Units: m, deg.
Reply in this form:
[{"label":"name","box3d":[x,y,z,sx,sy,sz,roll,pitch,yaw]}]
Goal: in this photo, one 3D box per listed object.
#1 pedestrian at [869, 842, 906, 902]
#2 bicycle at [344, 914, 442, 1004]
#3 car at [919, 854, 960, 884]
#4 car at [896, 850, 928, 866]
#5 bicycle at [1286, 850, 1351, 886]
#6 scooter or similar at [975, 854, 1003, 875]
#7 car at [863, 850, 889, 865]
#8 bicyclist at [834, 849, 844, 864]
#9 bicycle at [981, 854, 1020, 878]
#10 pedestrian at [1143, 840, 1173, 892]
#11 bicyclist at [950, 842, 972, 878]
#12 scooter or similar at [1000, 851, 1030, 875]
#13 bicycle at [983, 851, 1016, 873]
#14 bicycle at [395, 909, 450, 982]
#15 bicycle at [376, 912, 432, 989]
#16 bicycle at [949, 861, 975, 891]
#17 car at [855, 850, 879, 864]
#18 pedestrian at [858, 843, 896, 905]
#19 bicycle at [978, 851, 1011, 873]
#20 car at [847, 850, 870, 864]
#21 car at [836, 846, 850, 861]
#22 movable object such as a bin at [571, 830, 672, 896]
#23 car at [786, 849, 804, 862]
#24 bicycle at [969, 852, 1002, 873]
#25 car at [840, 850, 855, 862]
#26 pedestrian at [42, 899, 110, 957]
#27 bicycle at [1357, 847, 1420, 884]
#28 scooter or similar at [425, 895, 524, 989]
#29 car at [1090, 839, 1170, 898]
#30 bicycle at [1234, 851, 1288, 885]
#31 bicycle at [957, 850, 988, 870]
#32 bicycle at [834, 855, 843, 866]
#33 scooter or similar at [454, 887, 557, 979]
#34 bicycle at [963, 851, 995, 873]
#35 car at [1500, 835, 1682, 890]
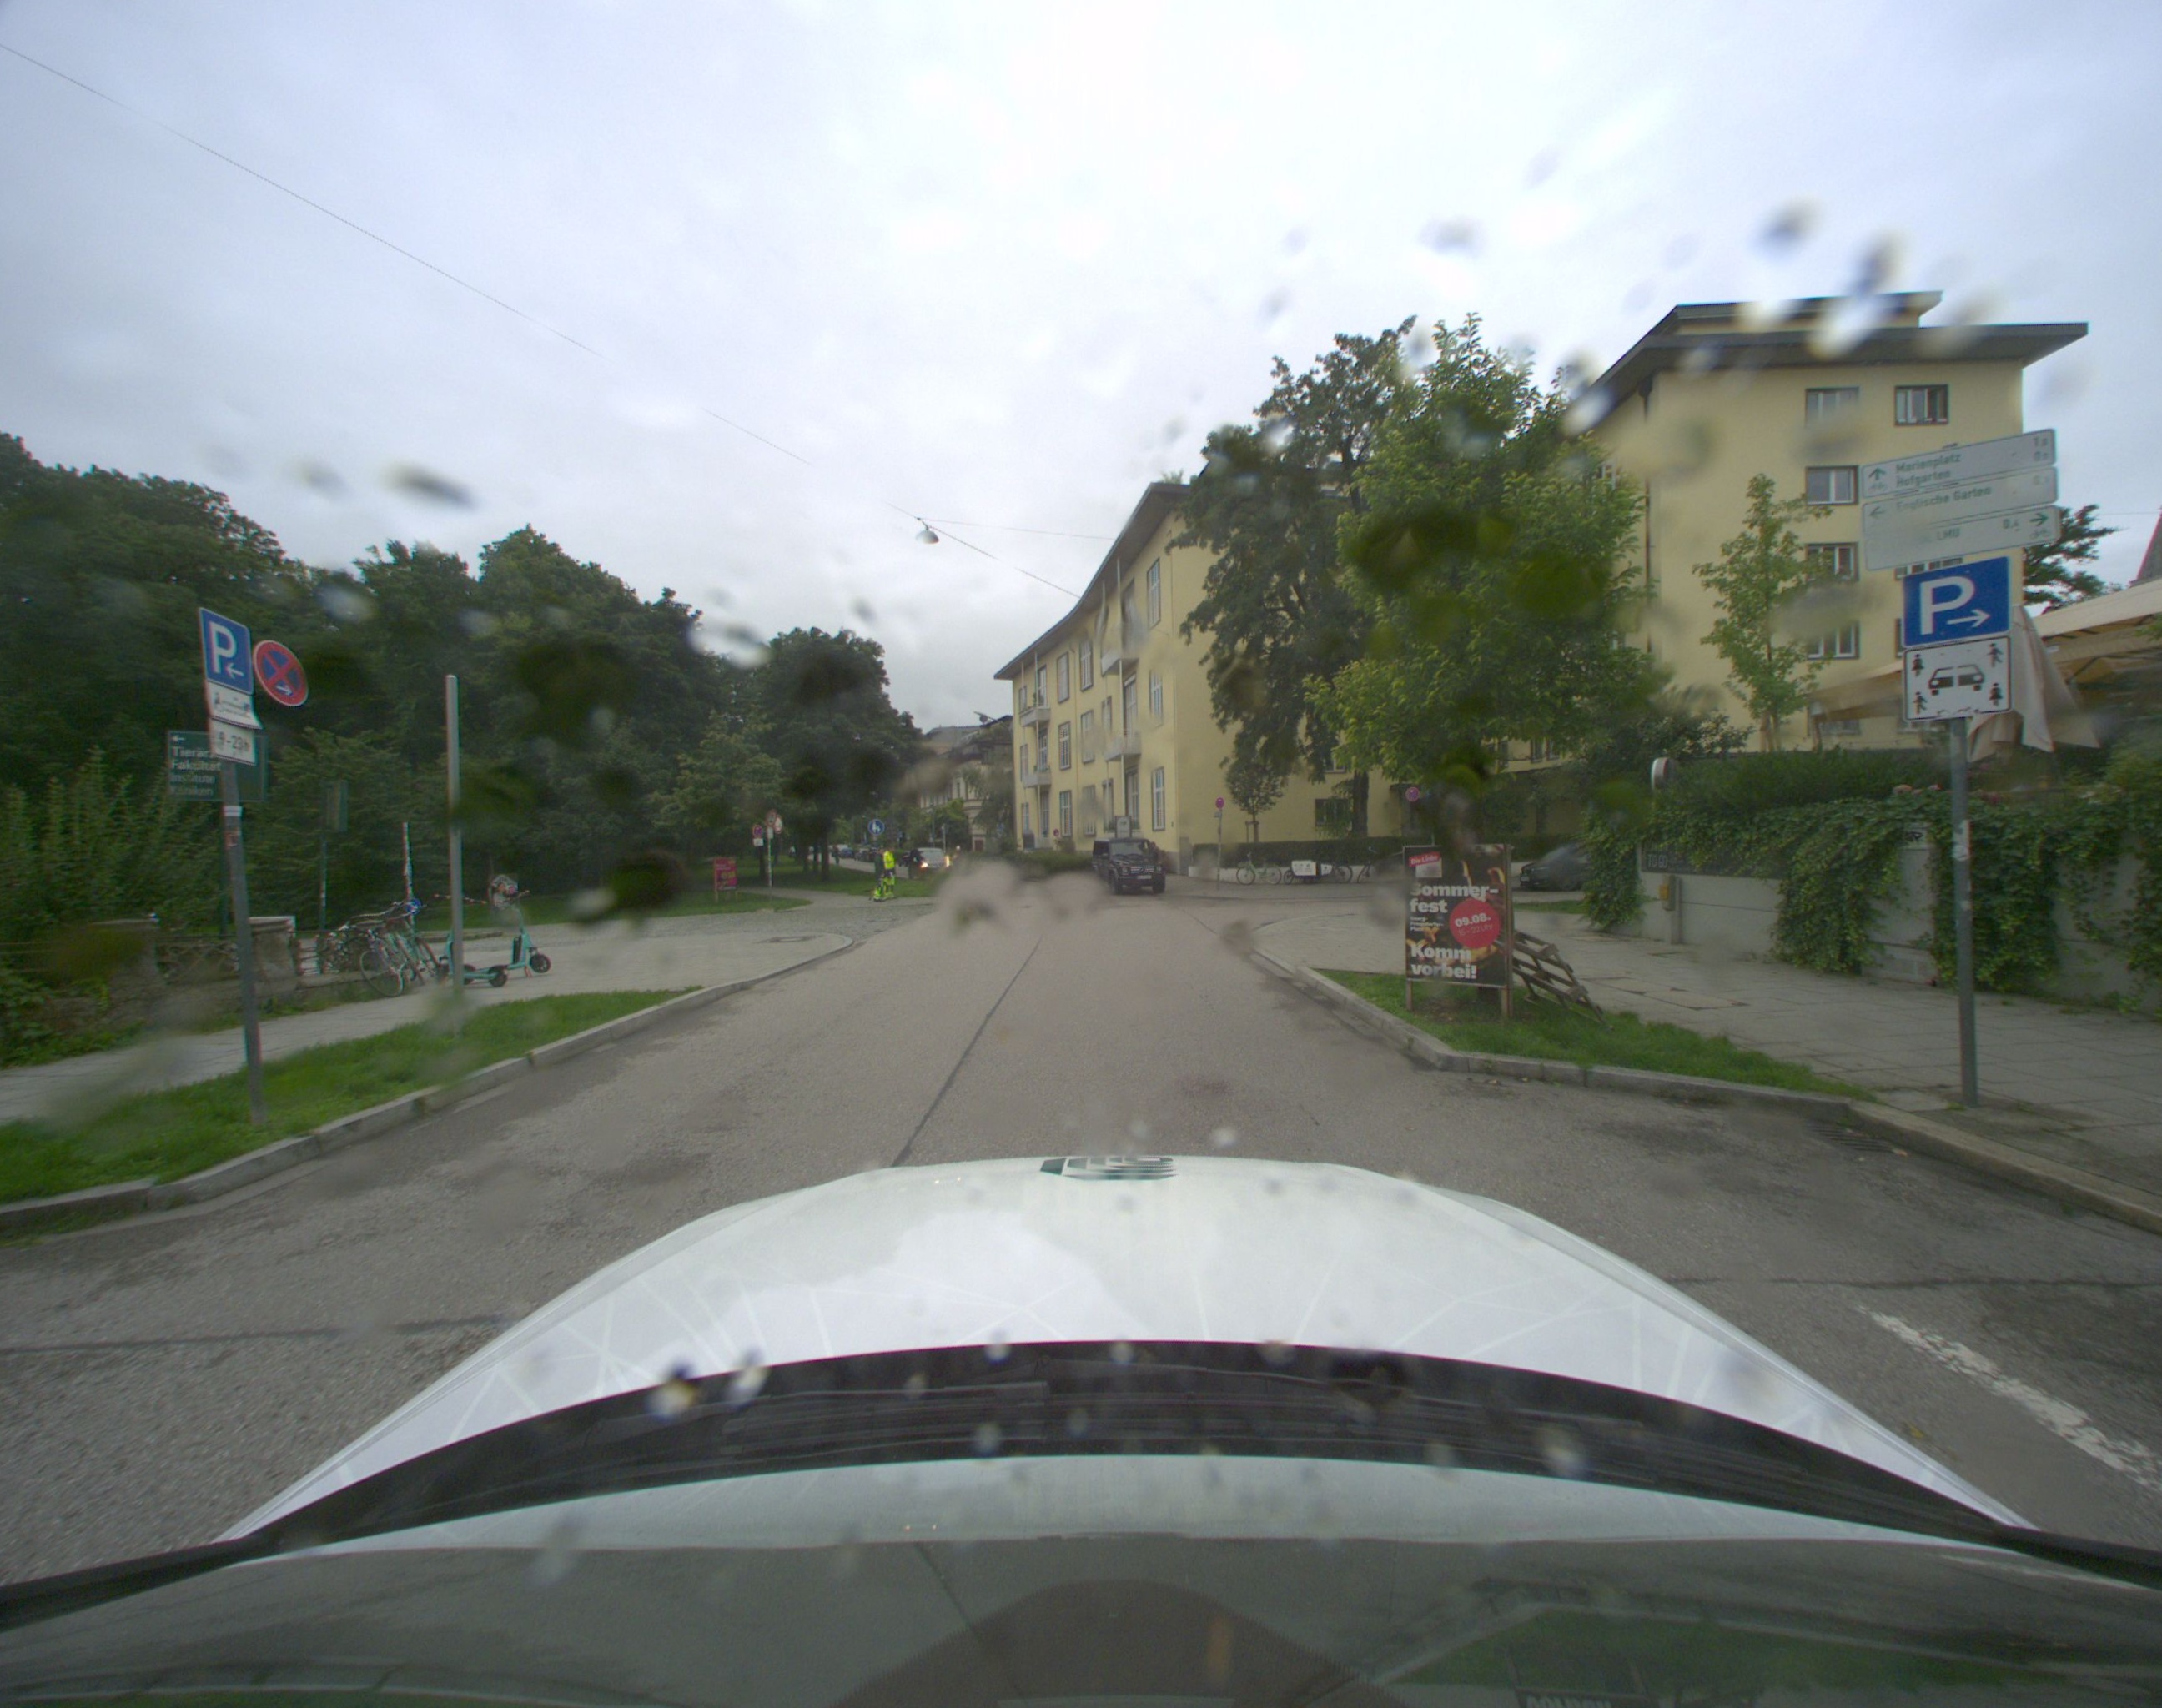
[{"label":"pedestrian","box3d":[-6.722,0.617,28.360,0.927,2.013,0.958,-1,0,5]},{"label":"bicycle","box3d":[-8.762,1.306,10.416,0.544,0.974,1.147,-2,0,-19]},{"label":"car","box3d":[-7.883,0.787,45.179,1.917,1.471,3.980,-1,1,-15]},{"label":"car","box3d":[-15.352,0.379,73.795,2.002,1.372,3.969,-2,0,-23]},{"label":"bicycle","box3d":[8.130,0.481,27.928,2.049,1.201,0.599,-1,1,23]},{"label":"scooter or similar","box3d":[-5.786,0.656,51.349,0.725,1.305,1.741,-1,1,33]},{"label":"car","box3d":[-23.125,0.400,91.767,2.004,1.606,3.966,-2,0,-25]},{"label":"bicyclist","box3d":[-23.638,0.241,79.404,0.799,1.470,0.886,-1,1,-23]},{"label":"bicycle","box3d":[-4.731,0.681,47.984,2.166,1.305,0.726,-2,1,-36]},{"label":"pedestrian","box3d":[2.755,0.403,29.285,0.874,1.823,0.795,-1,1,-11]},{"label":"bicyclist","box3d":[-5.222,0.245,35.432,0.745,1.521,0.940,-2,0,-18]},{"label":"scooter or similar","box3d":[-3.807,0.487,47.056,0.725,1.305,2.169,-1,1,25]},{"label":"bicycle","box3d":[-5.000,0.479,50.098,0.725,1.305,2.170,-1,1,37]},{"label":"bicycle","box3d":[-9.907,1.344,12.238,1.563,0.990,0.303,-2,0,40]},{"label":"bicycle","box3d":[-9.712,1.348,11.668,1.563,0.990,0.303,-2,0,40]},{"label":"bicycle","box3d":[-5.198,0.946,35.419,0.745,1.215,2.131,-2,0,-17]},{"label":"car","box3d":[-25.482,0.377,96.843,2.004,1.606,3.966,-2,0,-25]},{"label":"pedestrian","box3d":[-6.836,0.664,27.325,0.927,2.013,0.958,-1,0,5]},{"label":"bicycle","box3d":[-5.385,0.469,50.959,0.725,1.305,2.170,-1,1,37]},{"label":"car","box3d":[-27.859,0.353,101.916,2.004,1.606,3.966,-2,0,-25]},{"label":"car","box3d":[-36.397,-0.072,124.708,1.998,2.159,3.979,-2,0,-16]},{"label":"movable object such as a bin","box3d":[-23.741,0.413,42.191,1.974,3.213,4.026,-2,0,36]},{"label":"car","box3d":[-39.854,0.188,113.440,2.002,1.691,3.969,-2,0,-23]},{"label":"bicycle","box3d":[-6.071,0.538,51.924,0.725,1.305,2.170,-1,1,37]},{"label":"car","box3d":[-33.289,0.263,116.102,1.998,1.606,3.979,-2,0,-16]},{"label":"pedestrian","box3d":[-31.132,2.270,25.250,0.938,1.688,0.891,-2,0,4]},{"label":"bicycle","box3d":[10.381,0.383,27.521,1.912,1.201,0.596,-1,1,5]},{"label":"scooter or similar","box3d":[-8.057,1.161,10.824,1.108,1.188,0.346,-2,0,11]},{"label":"car","box3d":[1.669,0.456,29.256,1.763,1.874,4.362,2,0,-12]},{"label":"bicycle","box3d":[6.484,0.498,29.413,0.599,1.201,1.904,-2,1,-43]},{"label":"bicycle","box3d":[-7.256,0.400,54.383,0.725,1.305,2.170,-1,1,37]},{"label":"bicycle","box3d":[-23.631,0.631,79.410,0.642,0.967,1.980,-1,1,-23]},{"label":"scooter or similar","box3d":[-8.182,1.096,11.617,0.341,1.188,1.126,-1,1,39]},{"label":"bicycle","box3d":[-6.594,0.515,52.626,0.725,1.305,2.170,-1,1,37]},{"label":"car","box3d":[14.905,0.249,23.956,4.227,1.446,1.699,-2,-1,3]}]
